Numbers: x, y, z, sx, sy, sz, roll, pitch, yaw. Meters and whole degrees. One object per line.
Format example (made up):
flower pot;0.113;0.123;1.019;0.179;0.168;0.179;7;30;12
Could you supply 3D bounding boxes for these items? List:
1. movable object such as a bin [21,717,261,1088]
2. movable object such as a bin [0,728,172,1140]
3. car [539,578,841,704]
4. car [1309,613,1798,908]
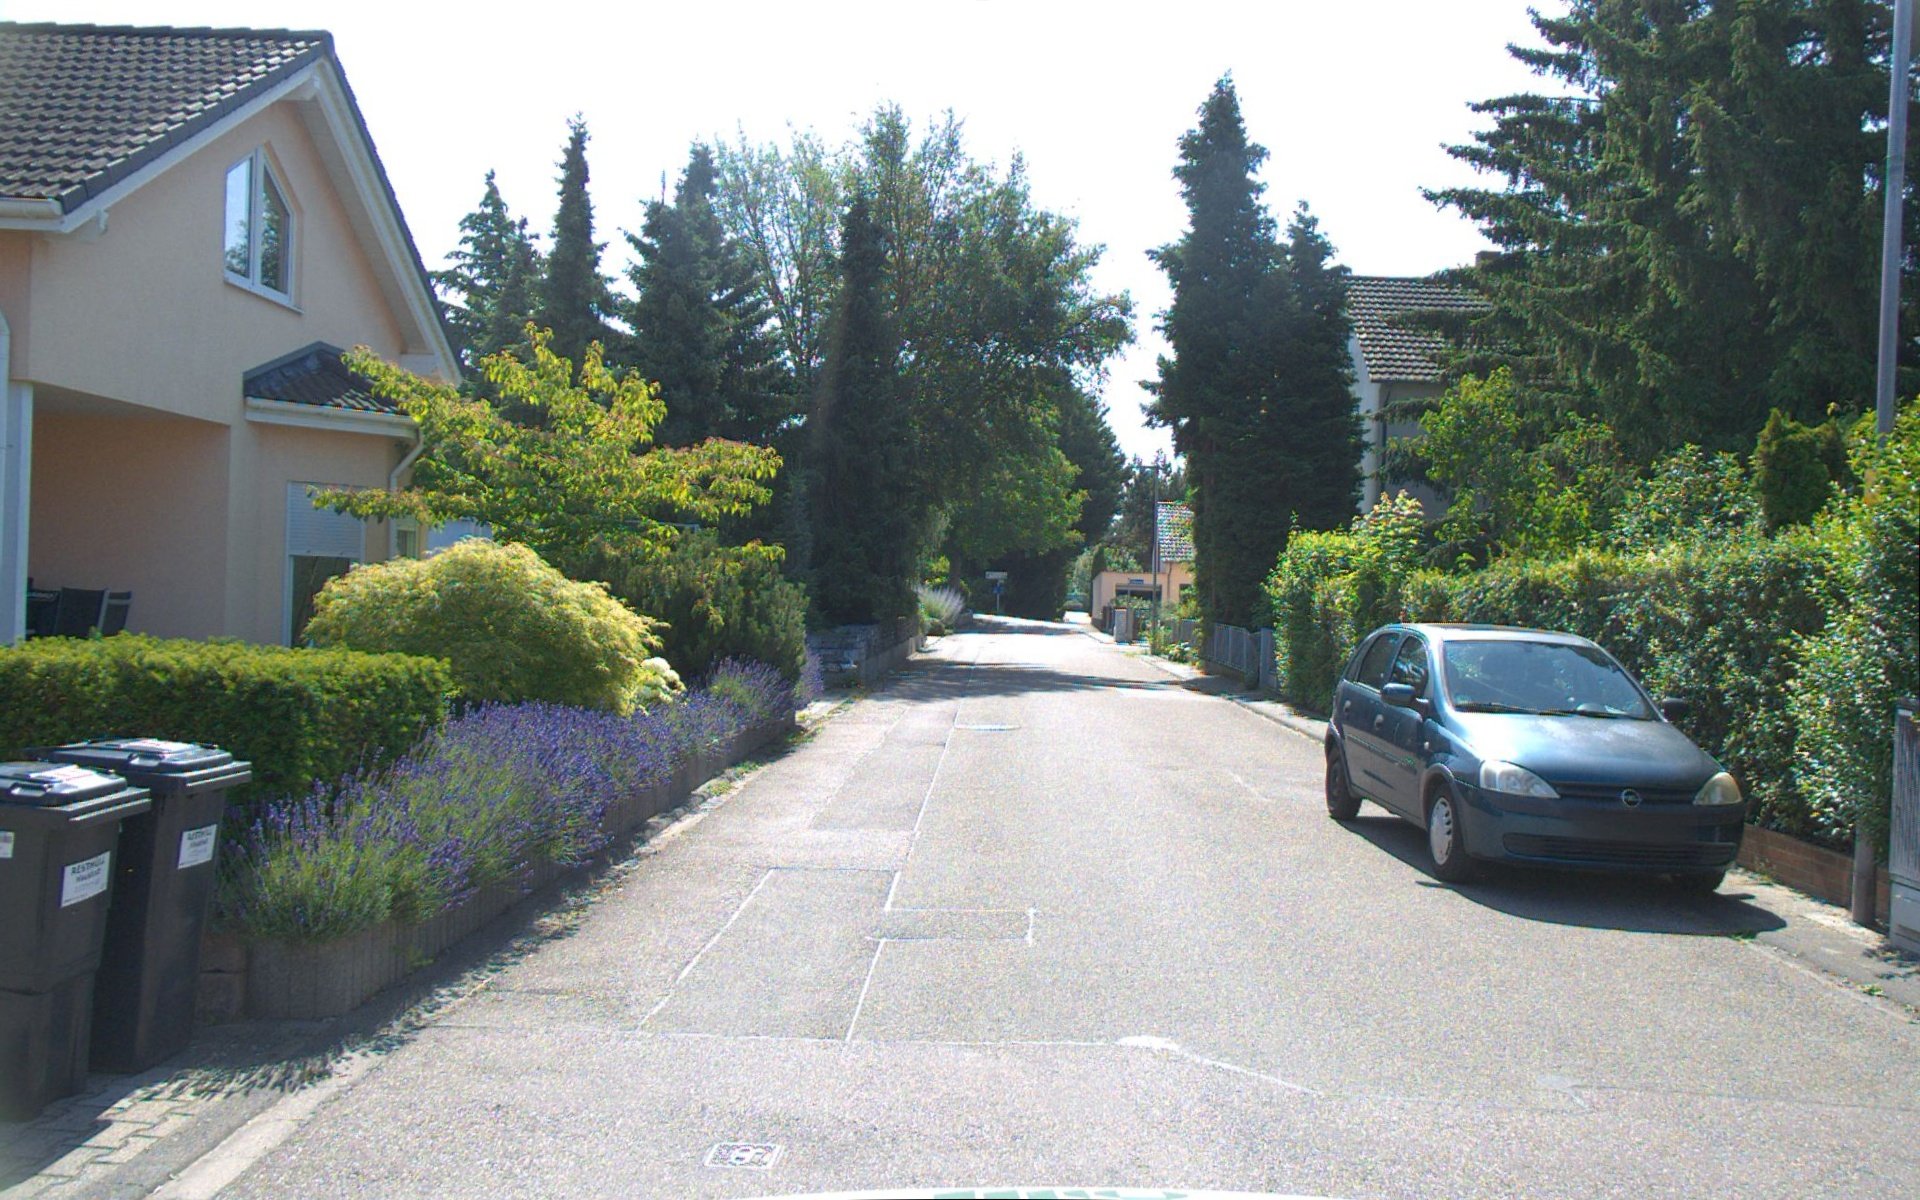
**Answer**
movable object such as a bin;-2.499;0.902;5.077;0.484;1.042;0.447;1;0;1
movable object such as a bin;-2.561;0.901;4.612;0.484;1.042;0.447;1;0;1
car;-3.476;0.512;21.795;3.659;1.471;1.756;2;1;-1
car;3.514;0.851;10.612;1.667;1.424;4.000;3;0;0
